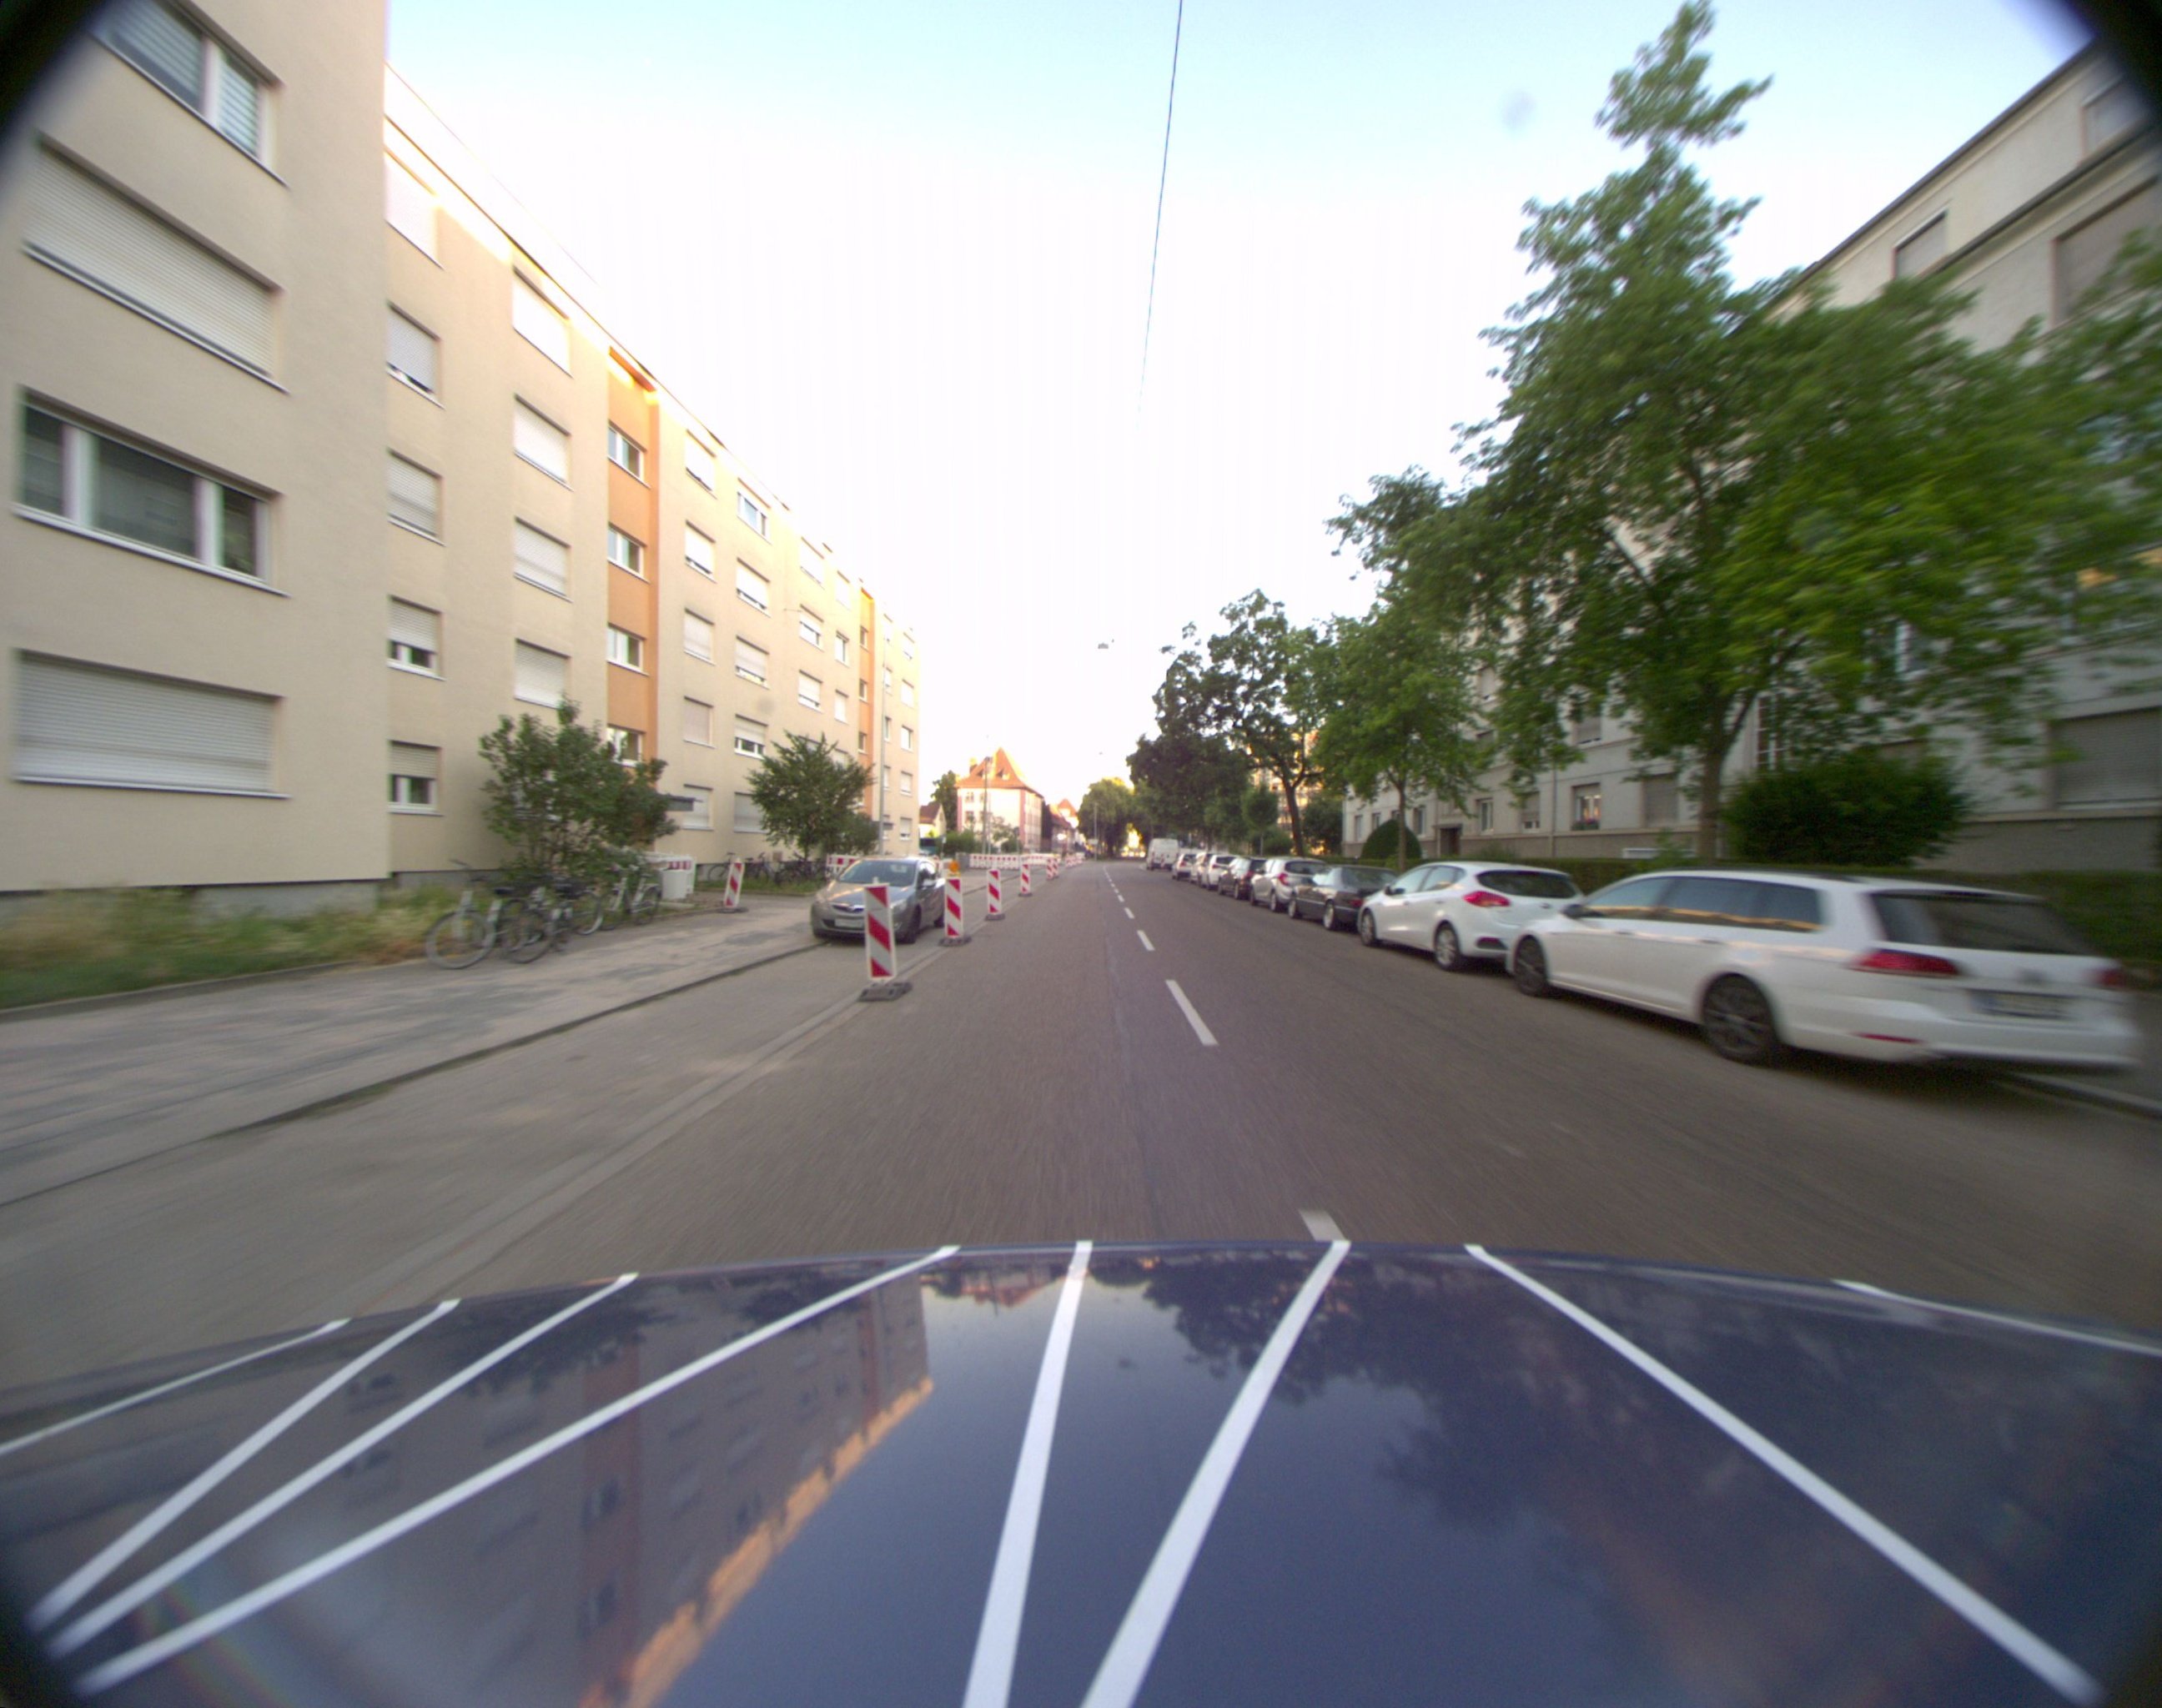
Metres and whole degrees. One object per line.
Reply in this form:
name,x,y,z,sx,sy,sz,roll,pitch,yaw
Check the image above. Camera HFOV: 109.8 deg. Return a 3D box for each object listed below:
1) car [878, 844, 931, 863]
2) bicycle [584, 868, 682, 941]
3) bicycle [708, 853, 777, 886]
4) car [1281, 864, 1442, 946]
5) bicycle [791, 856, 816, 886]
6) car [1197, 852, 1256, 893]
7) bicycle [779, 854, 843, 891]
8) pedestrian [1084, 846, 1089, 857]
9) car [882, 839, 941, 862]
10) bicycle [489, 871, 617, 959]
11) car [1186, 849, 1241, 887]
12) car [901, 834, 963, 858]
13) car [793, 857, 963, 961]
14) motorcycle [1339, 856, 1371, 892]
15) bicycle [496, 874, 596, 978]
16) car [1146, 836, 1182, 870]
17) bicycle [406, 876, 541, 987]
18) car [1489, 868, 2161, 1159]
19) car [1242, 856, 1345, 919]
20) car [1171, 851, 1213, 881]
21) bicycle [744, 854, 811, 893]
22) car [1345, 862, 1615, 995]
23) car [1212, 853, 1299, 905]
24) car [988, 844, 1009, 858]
car,-14.176,-0.059,61.174,3.839,1.444,1.695,1,1,3
bicycle,-7.895,0.847,13.489,0.557,1.165,1.817,0,1,4
bicycle,-10.585,0.499,23.786,1.821,0.916,0.556,4,2,-40
car,5.780,0.977,16.309,1.678,1.324,4.579,3,1,0
bicycle,-9.459,0.569,25.843,0.559,0.860,1.610,4,2,-27
car,5.969,0.720,31.526,1.756,1.471,3.944,3,1,2
bicycle,-8.708,0.591,24.544,1.815,1.017,0.558,5,2,2
pedestrian,0.873,-0.375,118.976,0.716,1.600,0.518,0,1,-4
car,-14.194,-0.318,63.828,4.489,1.800,2.005,1,1,3
bicycle,-7.877,0.872,11.440,0.557,1.165,1.817,0,1,4
car,6.229,0.617,36.094,1.757,1.622,4.106,3,1,-1
car,-13.438,-0.696,68.782,5.030,2.117,2.291,0,1,8
car,-3.622,0.890,14.482,1.780,1.482,4.573,4,1,2
motorcycle,10.434,0.751,28.981,0.588,1.317,1.828,0,1,1
bicycle,-6.910,0.871,9.899,0.558,1.165,1.813,0,1,-19
car,6.555,-0.084,60.849,2.184,2.447,6.102,3,1,1
bicycle,-7.438,0.888,9.405,0.628,1.165,1.814,0,1,-15
car,5.588,0.956,6.542,1.696,1.451,4.483,3,1,1
car,5.788,0.856,21.140,1.679,1.451,3.704,3,1,-2
car,6.003,0.623,41.455,1.756,1.463,4.224,3,1,2
bicycle,-9.108,0.580,22.815,1.755,0.981,0.558,5,2,10
car,5.575,0.931,11.310,1.696,1.451,4.144,3,1,-1
car,5.867,0.783,26.078,1.757,1.471,4.677,3,1,-1
car,-10.012,-0.405,92.773,1.919,1.620,4.808,0,1,2
